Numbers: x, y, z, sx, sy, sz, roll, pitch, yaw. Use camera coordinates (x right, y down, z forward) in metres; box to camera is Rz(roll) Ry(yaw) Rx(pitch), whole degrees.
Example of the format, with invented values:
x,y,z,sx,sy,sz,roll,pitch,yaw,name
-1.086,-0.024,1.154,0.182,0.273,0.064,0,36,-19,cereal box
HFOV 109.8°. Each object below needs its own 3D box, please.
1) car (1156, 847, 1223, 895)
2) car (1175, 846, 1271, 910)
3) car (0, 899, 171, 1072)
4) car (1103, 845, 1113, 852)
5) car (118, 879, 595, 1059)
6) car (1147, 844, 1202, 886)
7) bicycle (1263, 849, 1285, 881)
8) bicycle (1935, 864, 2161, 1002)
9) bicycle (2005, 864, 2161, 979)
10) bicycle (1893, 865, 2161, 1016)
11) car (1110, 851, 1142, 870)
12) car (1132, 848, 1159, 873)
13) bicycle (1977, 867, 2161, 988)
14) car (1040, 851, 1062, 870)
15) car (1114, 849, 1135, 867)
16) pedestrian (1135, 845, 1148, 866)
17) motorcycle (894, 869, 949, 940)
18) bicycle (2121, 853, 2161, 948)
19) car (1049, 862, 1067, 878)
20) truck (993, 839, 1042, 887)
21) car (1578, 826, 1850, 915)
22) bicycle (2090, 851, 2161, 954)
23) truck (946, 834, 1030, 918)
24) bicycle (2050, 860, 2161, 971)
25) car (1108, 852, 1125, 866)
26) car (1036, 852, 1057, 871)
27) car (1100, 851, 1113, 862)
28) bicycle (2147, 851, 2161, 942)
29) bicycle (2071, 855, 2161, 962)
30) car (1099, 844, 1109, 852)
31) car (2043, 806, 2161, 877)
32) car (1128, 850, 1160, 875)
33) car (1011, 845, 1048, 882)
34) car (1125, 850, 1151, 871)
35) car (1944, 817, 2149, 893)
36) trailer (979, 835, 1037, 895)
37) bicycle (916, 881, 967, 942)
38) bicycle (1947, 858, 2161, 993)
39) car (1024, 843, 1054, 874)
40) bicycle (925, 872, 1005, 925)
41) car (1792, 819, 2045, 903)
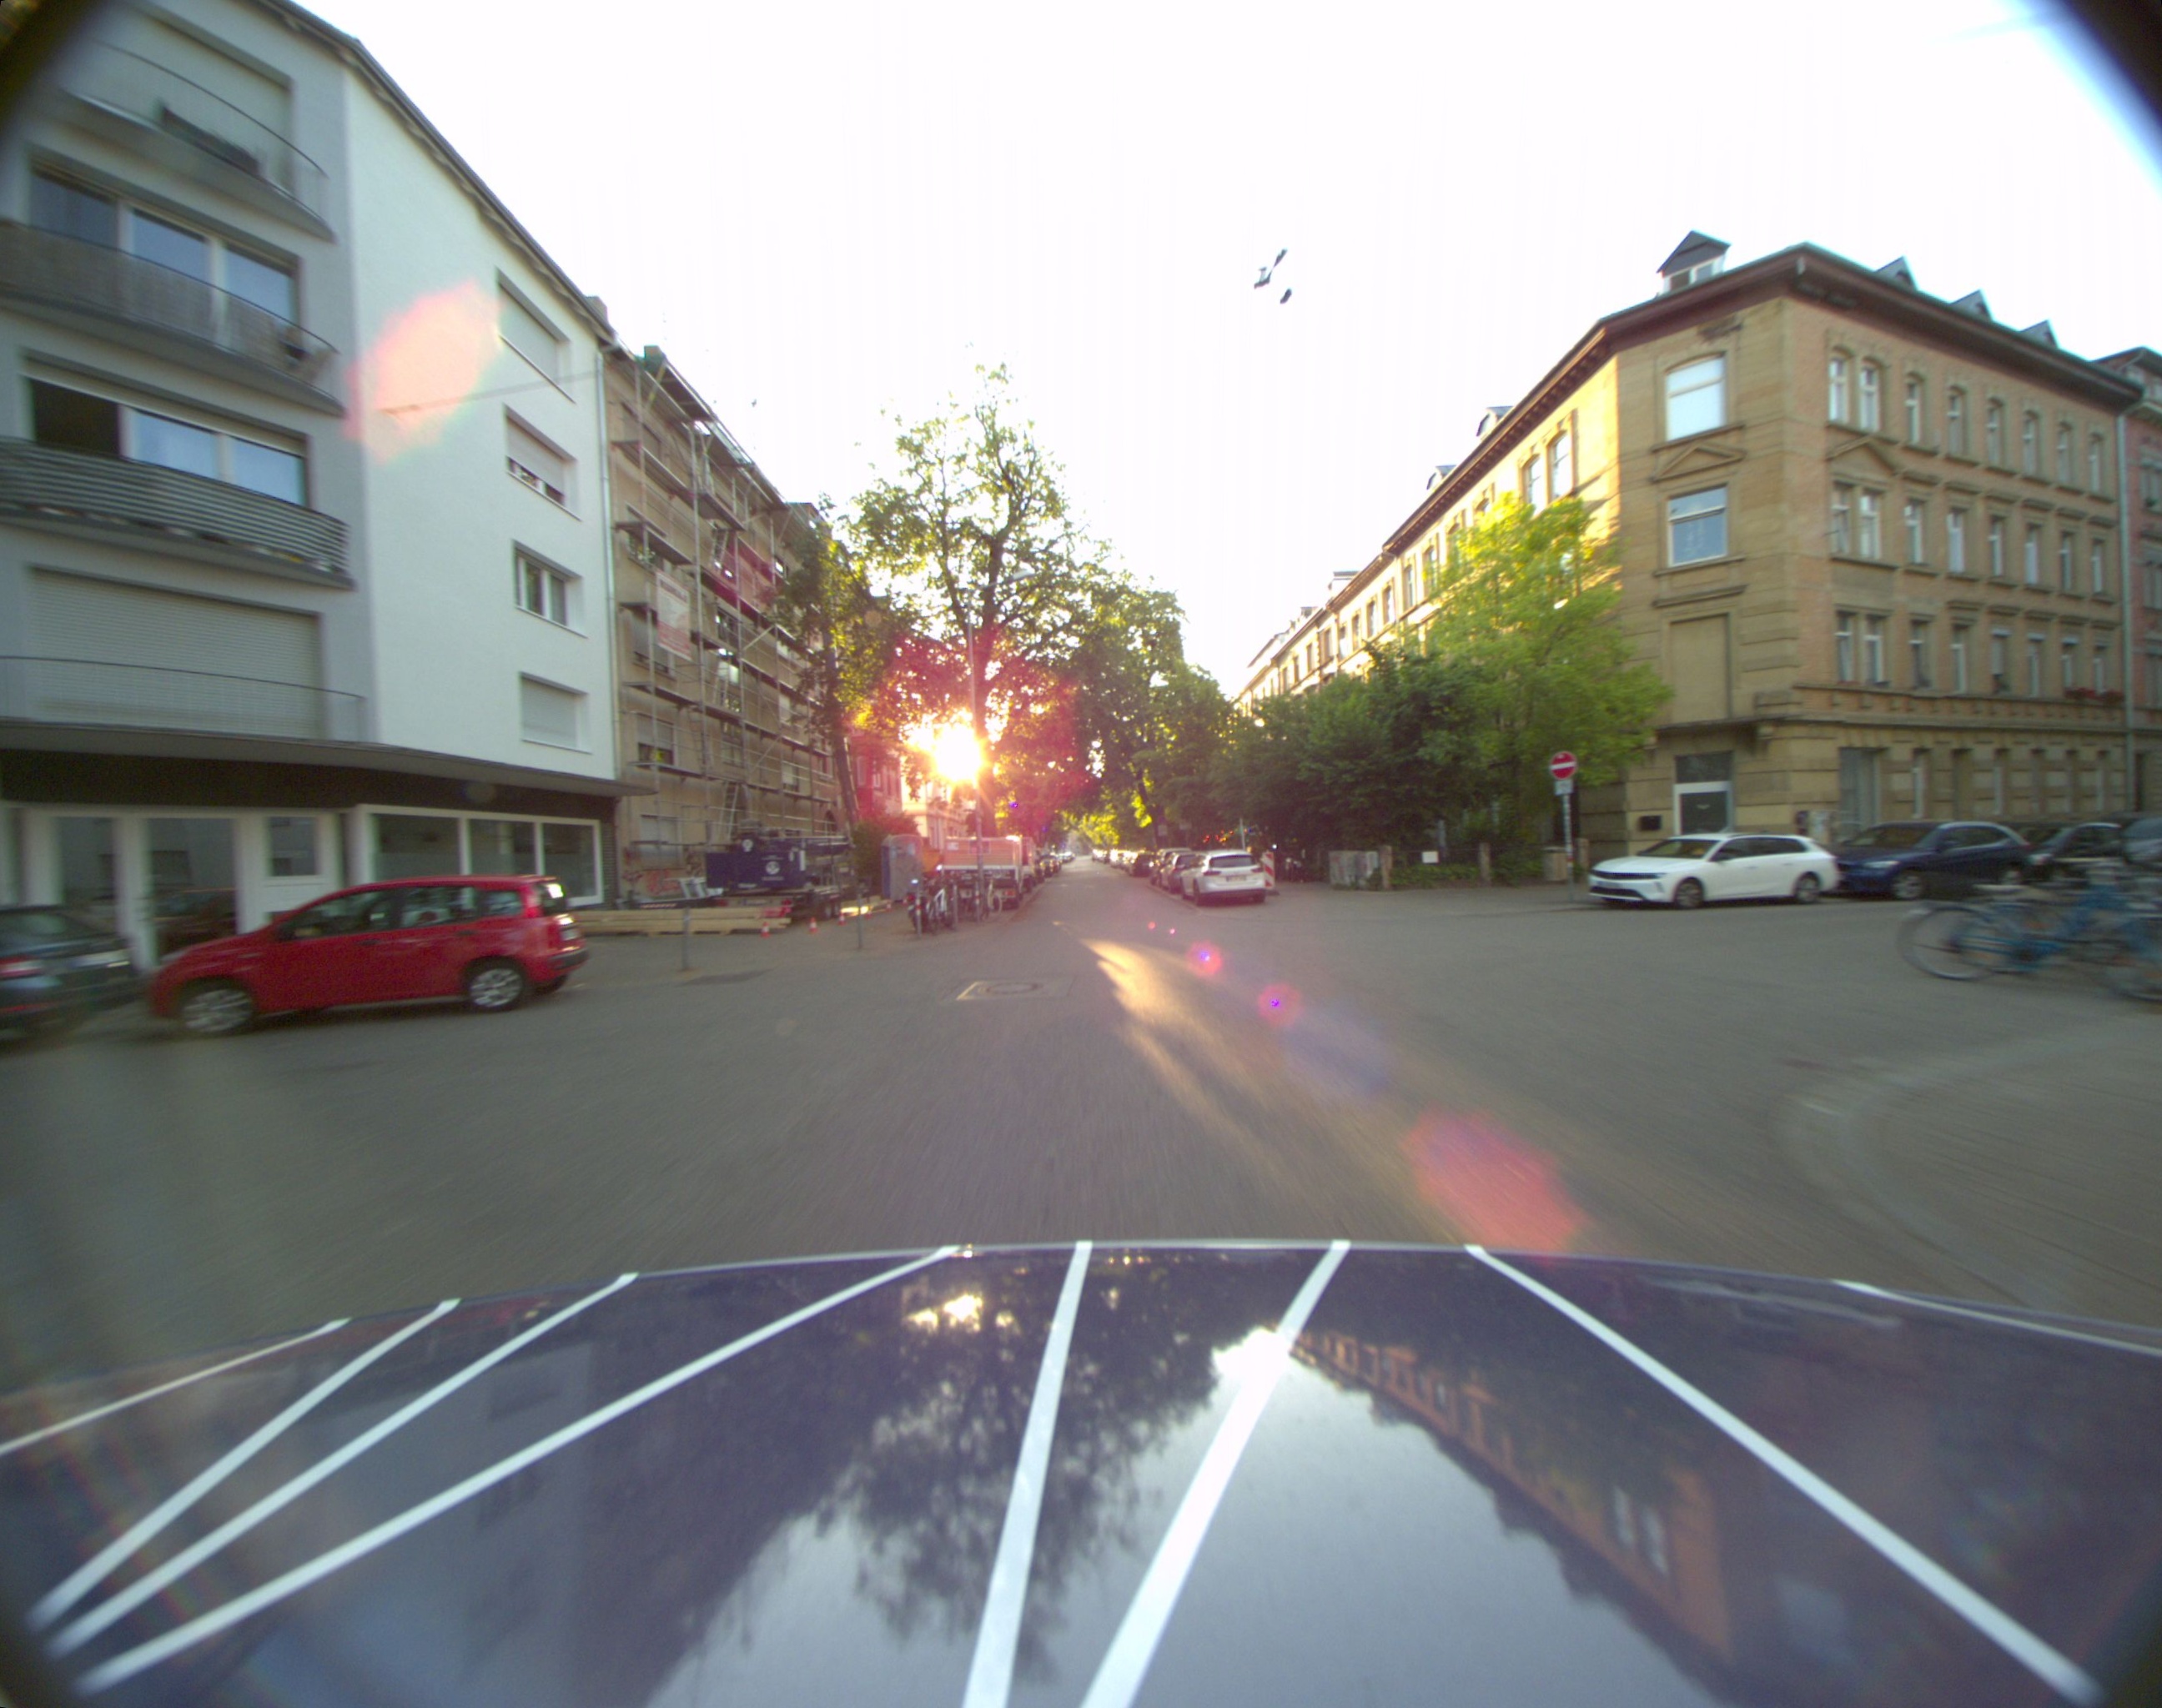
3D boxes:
x,y,z,sx,sy,sz,roll,pitch,yaw,name
3.922,0.559,28.098,1.694,1.493,4.401,-5,1,0,car
3.967,0.633,22.022,1.694,1.493,4.737,-5,0,-1,car
-11.715,1.340,7.005,3.900,1.498,1.624,-4,0,-21,car
5.490,-1.117,155.033,1.617,1.433,4.104,-4,0,-2,car
-7.737,1.133,8.548,3.481,1.563,1.624,-2,-1,-19,car
3.958,0.453,32.742,1.694,1.554,4.402,-5,0,0,car
8.167,0.447,32.152,0.606,1.277,2.489,-2,0,20,bicycle
9.122,0.682,6.983,0.243,1.174,1.676,-3,1,-26,bicycle
10.659,0.658,7.538,0.367,1.103,1.848,-3,1,-26,bicycle
8.540,0.704,6.695,0.338,1.174,1.874,-3,2,-26,bicycle
3.752,0.523,63.879,1.845,1.403,4.598,-5,0,-5,car
4.366,0.428,51.962,1.555,1.477,3.694,-5,0,2,car
9.992,0.680,7.232,0.367,1.103,1.848,-3,1,-26,bicycle
-2.689,0.573,67.598,1.669,1.668,4.118,0,0,-5,car
4.036,0.341,70.982,1.668,1.484,3.710,-5,0,-1,car
5.981,0.175,74.899,0.869,2.002,1.008,-2,1,-20,pedestrian
-3.374,1.040,16.259,0.503,1.348,2.062,0,1,7,motorcycle
13.243,0.543,8.503,0.367,1.110,1.848,-3,1,-26,bicycle
-2.313,1.572,77.257,1.735,1.547,3.962,0,0,1,car
-3.067,0.424,37.681,1.959,2.233,4.645,0,0,1,truck
12.763,0.310,15.422,4.467,1.542,1.708,-2,-1,-9,car
12.547,0.540,8.260,0.367,1.145,1.848,-3,1,-26,bicycle
-2.769,0.574,24.138,1.982,2.231,6.774,-2,1,-2,truck
11.139,0.620,7.528,0.367,1.103,1.848,-3,1,-26,bicycle
4.655,0.663,100.721,1.871,1.677,4.591,-3,0,-1,car
-2.835,0.601,62.795,1.669,1.491,3.693,0,0,-3,car
3.879,0.379,116.474,1.617,1.433,3.753,-5,0,-3,car
13.814,0.506,8.683,0.367,1.110,1.848,-3,1,-26,bicycle
11.994,0.588,8.010,0.367,1.145,1.848,-3,1,-26,bicycle
4.384,-1.124,147.482,1.617,1.433,4.104,-4,0,-2,car
26.562,-0.373,19.114,3.878,1.637,1.706,-2,2,-19,car
3.904,0.534,47.453,1.555,1.477,3.693,-2,0,-1,car
-2.838,0.527,42.657,1.844,1.931,4.613,0,0,-1,car
4.161,0.465,56.258,1.607,1.427,3.885,-5,0,1,car
22.534,-0.023,17.753,3.878,1.543,1.706,-2,2,-18,car
-2.894,0.413,31.042,1.959,2.282,4.644,0,0,0,trailer
-2.924,1.173,16.081,0.406,1.103,2.156,0,0,8,bicycle
9.364,0.637,7.087,0.243,1.174,1.676,-3,1,-26,bicycle
-2.889,0.343,53.199,1.959,2.046,4.830,0,0,-1,car
-2.793,1.061,18.396,1.908,1.251,0.406,0,1,-5,bicycle
17.667,0.095,16.102,4.107,1.543,1.707,-2,2,-11,car
